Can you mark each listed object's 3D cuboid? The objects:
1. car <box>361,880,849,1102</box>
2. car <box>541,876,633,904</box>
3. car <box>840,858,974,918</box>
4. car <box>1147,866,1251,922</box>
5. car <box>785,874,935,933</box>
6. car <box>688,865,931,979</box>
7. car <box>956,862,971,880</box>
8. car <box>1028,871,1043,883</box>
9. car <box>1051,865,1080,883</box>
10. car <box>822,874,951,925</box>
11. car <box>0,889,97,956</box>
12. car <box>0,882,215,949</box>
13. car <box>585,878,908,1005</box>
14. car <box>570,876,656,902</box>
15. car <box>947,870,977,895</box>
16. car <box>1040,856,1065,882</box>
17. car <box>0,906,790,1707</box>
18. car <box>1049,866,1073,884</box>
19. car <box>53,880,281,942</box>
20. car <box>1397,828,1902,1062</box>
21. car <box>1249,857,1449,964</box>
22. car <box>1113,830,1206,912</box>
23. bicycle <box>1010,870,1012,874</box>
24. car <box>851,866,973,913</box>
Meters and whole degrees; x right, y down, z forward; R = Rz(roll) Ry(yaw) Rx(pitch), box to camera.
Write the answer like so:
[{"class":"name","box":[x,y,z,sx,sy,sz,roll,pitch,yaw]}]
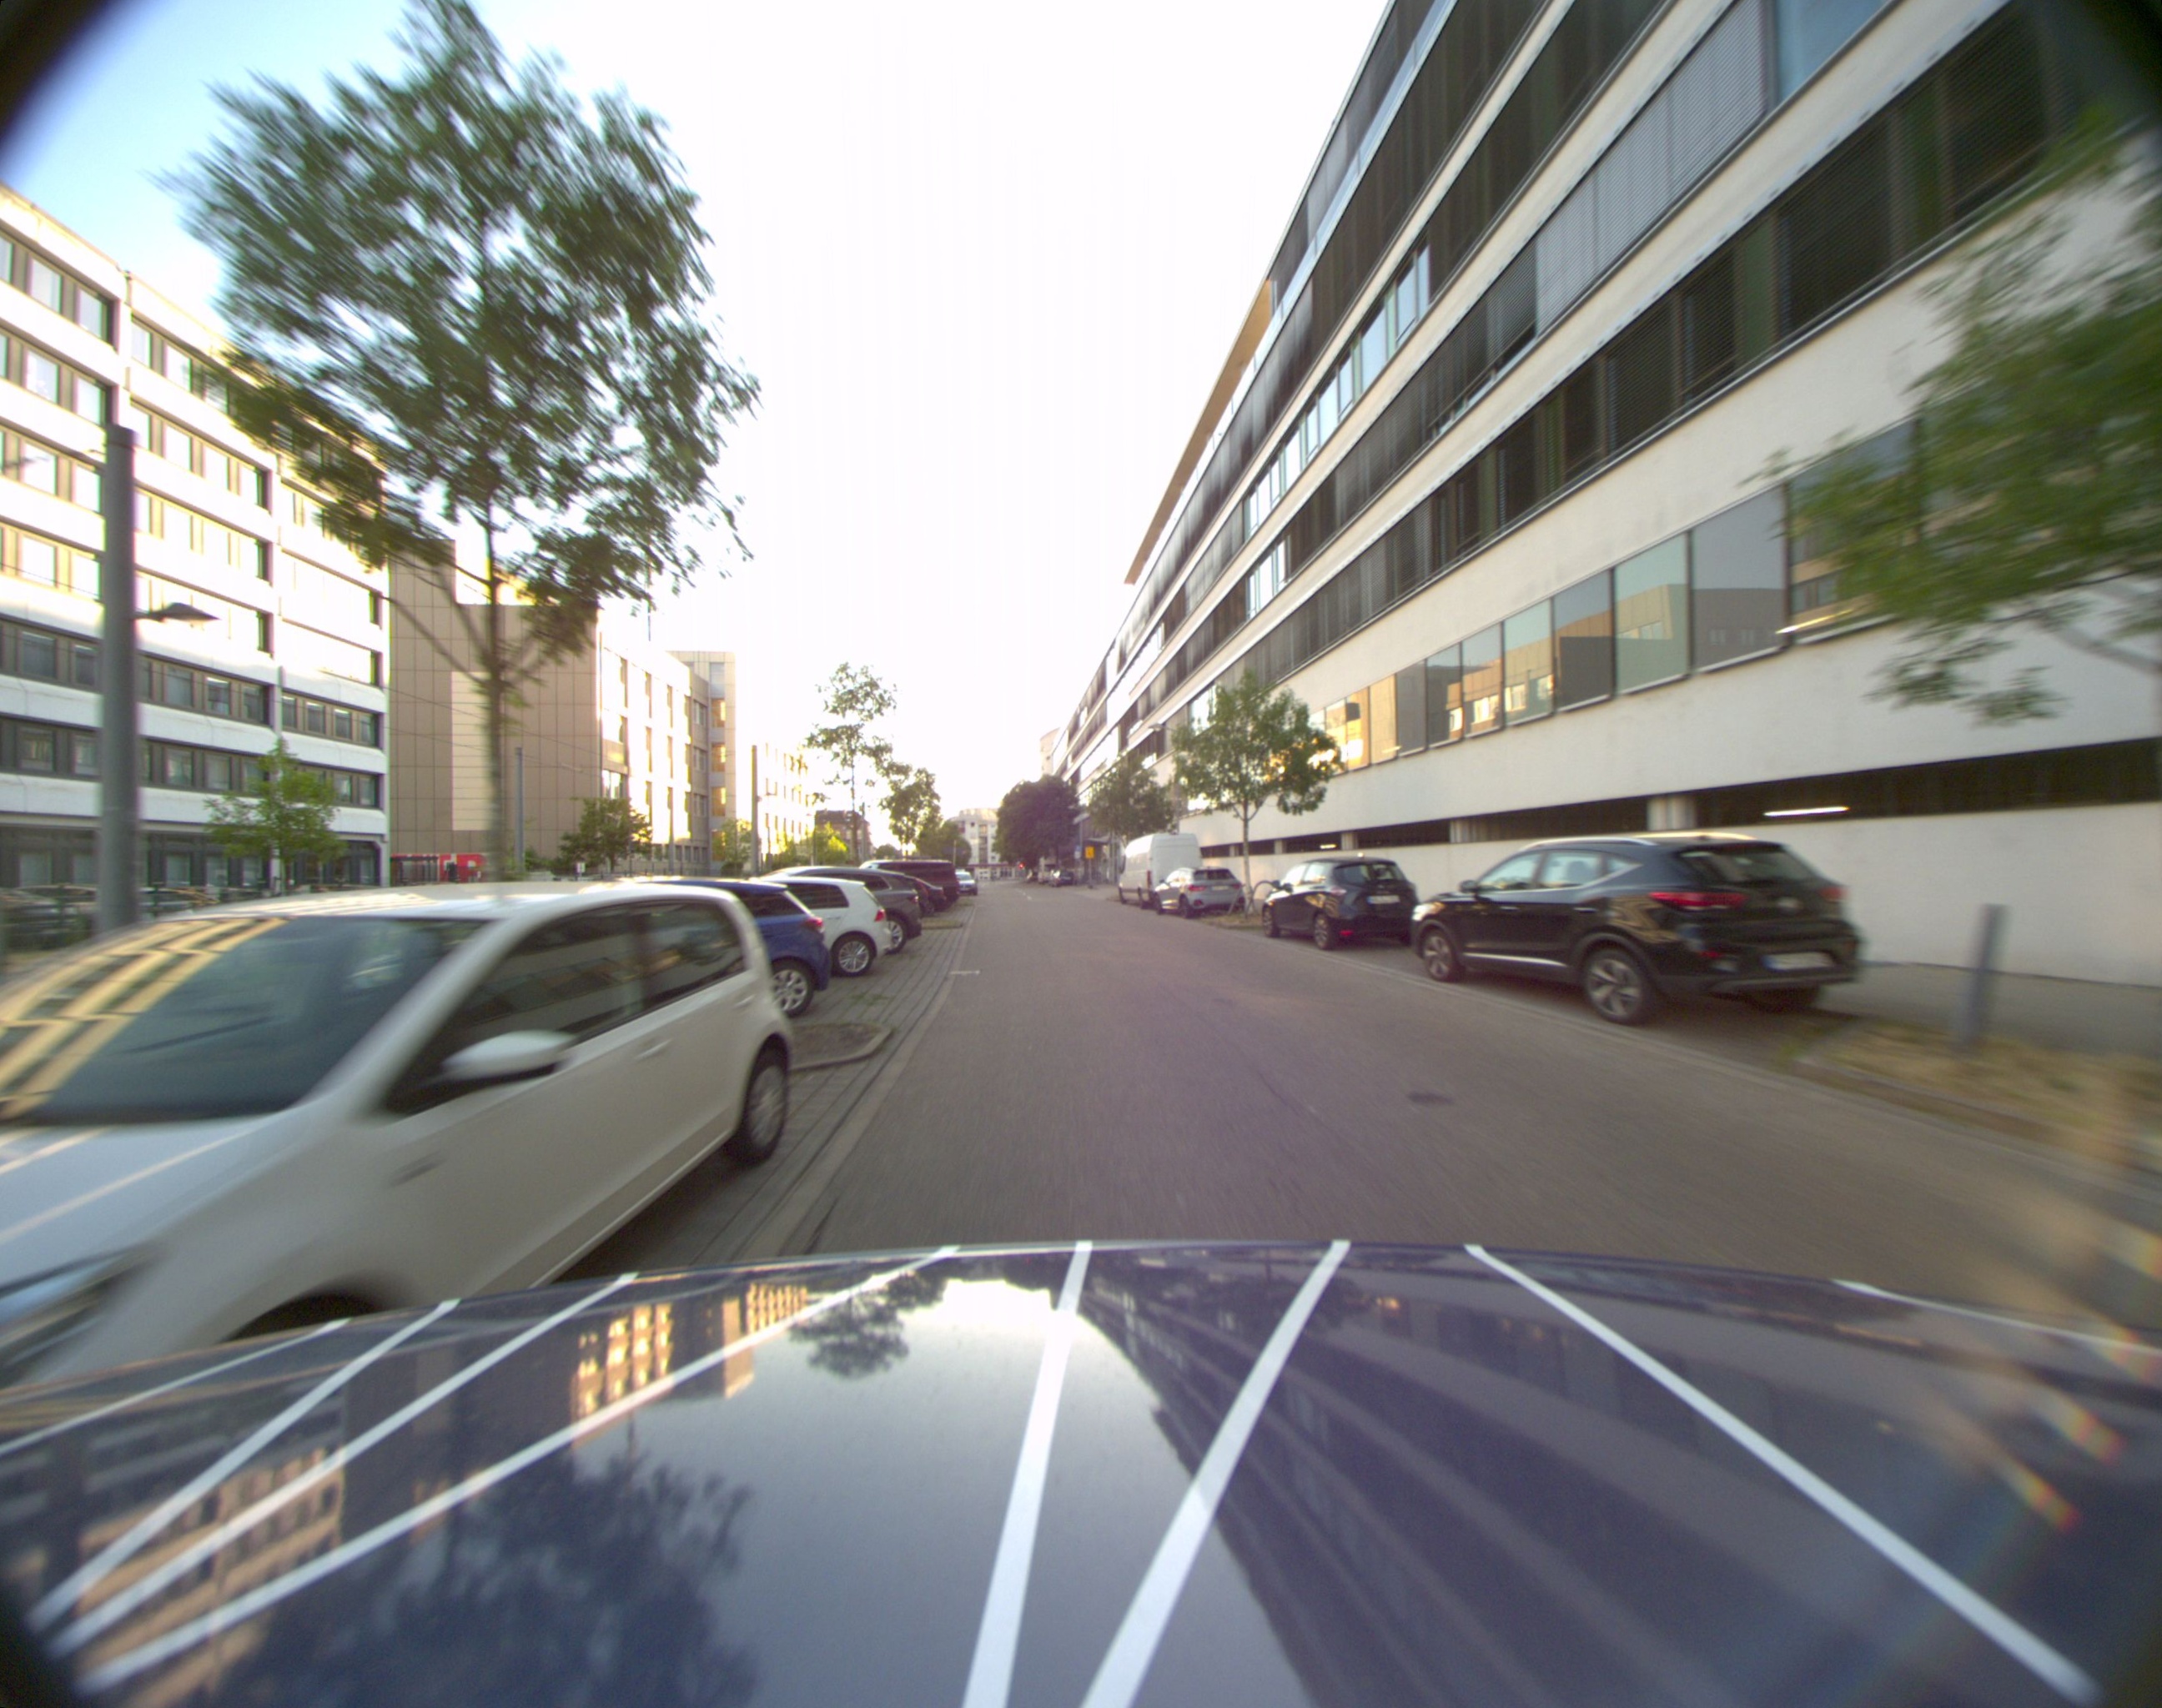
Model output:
[{"class":"car","box":[-4.480,1.105,7.531,3.762,1.500,1.683,-1,-2,-41]},{"class":"car","box":[-27.915,2.015,43.007,3.999,1.478,1.675,1,-1,-6]},{"class":"car","box":[-6.623,1.250,29.190,4.612,2.023,1.867,-2,-2,-40]},{"class":"car","box":[3.415,1.141,22.669,1.762,1.431,3.898,-3,-1,-11]},{"class":"car","box":[-6.426,1.411,22.302,3.786,1.433,1.759,-1,-2,-42]},{"class":"car","box":[-4.908,1.140,13.958,3.786,1.715,1.759,-2,-2,-39]},{"class":"car","box":[-18.074,2.627,116.889,2.058,2.641,5.431,2,-2,-8]},{"class":"car","box":[-6.231,3.098,103.272,1.595,1.559,4.470,-4,-1,-7]},{"class":"car","box":[-1.371,1.701,64.859,1.721,1.443,4.396,-1,-1,-11]},{"class":"car","box":[-6.468,1.495,25.464,3.786,1.456,1.635,-1,-2,-42]},{"class":"car","box":[-24.855,1.599,16.650,4.000,1.389,1.591,-3,-1,-8]},{"class":"car","box":[-24.913,1.532,19.107,4.000,1.389,1.591,-3,-1,-8]},{"class":"car","box":[-4.759,1.112,11.005,3.941,1.500,1.952,2,-2,-36]},{"class":"car","box":[-27.943,2.086,45.463,3.999,1.478,1.675,1,-1,-6]},{"class":"car","box":[-7.673,1.817,49.331,1.736,1.457,3.998,-3,0,-7]},{"class":"car","box":[-3.109,1.637,80.938,2.107,2.647,6.949,-1,-1,-7]},{"class":"car","box":[-2.533,0.987,2.493,1.726,1.458,3.554,0,-1,1]},{"class":"car","box":[-1.923,1.940,70.741,1.850,1.562,4.266,-1,-1,-7]},{"class":"car","box":[-25.406,1.554,21.263,4.000,1.389,1.591,-3,-1,-8]},{"class":"car","box":[5.132,0.727,7.680,1.761,1.643,3.947,-3,-1,-7]},{"class":"car","box":[4.616,0.934,13.796,1.761,1.551,4.042,-3,-1,-6]},{"class":"car","box":[2.772,0.663,28.737,1.964,2.601,6.890,-3,-1,-6]},{"class":"bicycle","box":[-16.776,4.246,182.076,0.515,1.040,1.902,-1,-1,-10]},{"class":"car","box":[-7.063,1.461,32.067,4.612,1.738,1.867,-1,-2,-40]}]
